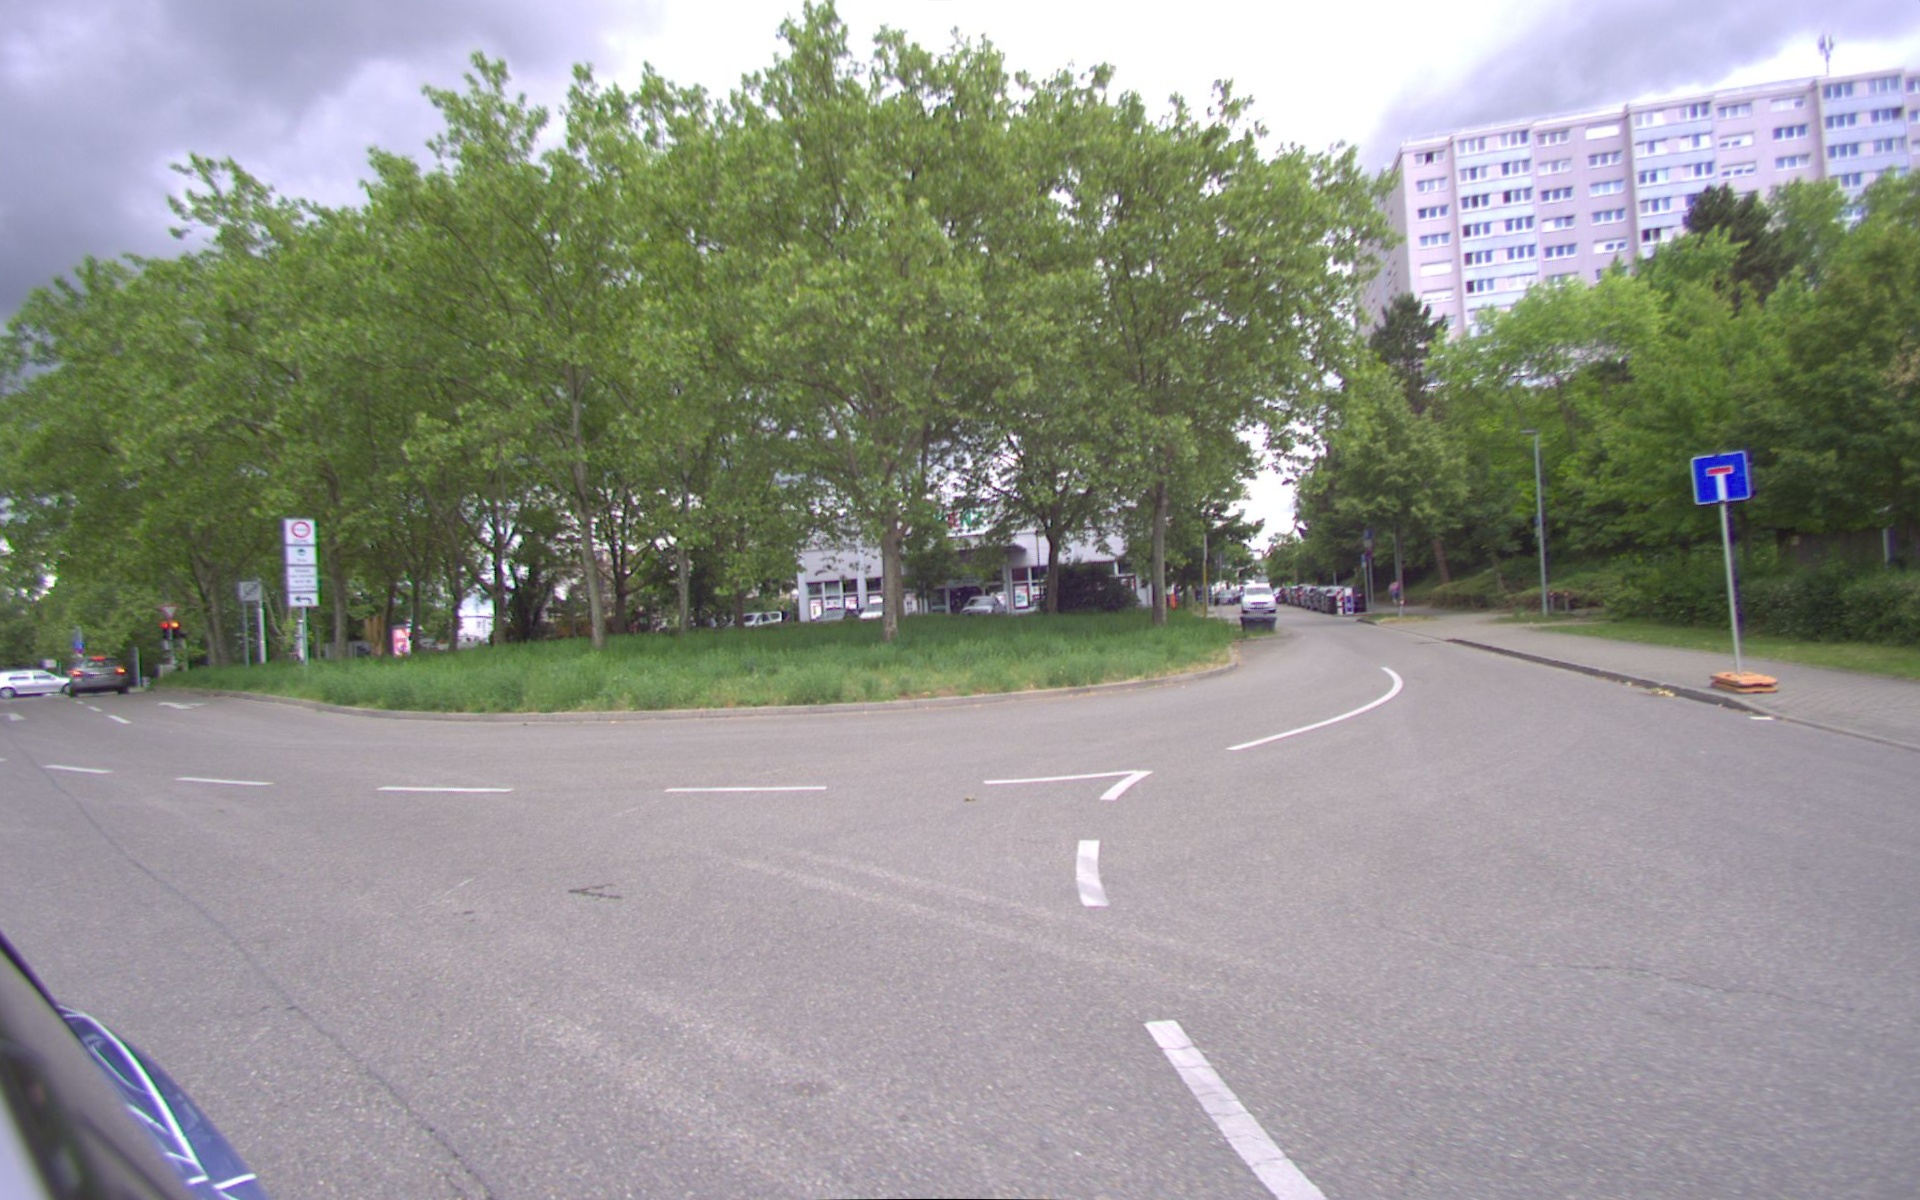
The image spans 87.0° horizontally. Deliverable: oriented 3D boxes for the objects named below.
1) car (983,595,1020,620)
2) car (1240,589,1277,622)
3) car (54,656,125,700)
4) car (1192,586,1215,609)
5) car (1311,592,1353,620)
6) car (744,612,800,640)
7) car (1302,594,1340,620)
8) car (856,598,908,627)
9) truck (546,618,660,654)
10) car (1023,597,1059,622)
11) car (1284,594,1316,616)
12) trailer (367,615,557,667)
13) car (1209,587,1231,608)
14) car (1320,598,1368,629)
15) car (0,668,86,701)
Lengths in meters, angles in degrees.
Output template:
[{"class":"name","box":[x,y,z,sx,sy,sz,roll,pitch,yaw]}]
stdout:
[{"class":"car","box":[2.671,0.458,64.461,1.638,1.475,3.983,-2,0,13]},{"class":"car","box":[17.418,0.304,59.257,1.764,1.785,3.983,-2,0,13]},{"class":"car","box":[-34.925,3.098,40.571,4.000,1.527,1.735,-2,0,43]},{"class":"car","box":[20.416,-0.228,84.815,1.764,1.785,3.983,-2,0,13]},{"class":"car","box":[21.277,0.352,57.996,1.764,1.497,3.659,-2,0,13]},{"class":"car","box":[-10.720,1.467,57.982,1.638,1.475,3.983,-2,0,13]},{"class":"car","box":[22.397,0.416,62.878,1.764,1.497,3.659,-2,0,13]},{"class":"car","box":[-4.210,0.650,55.237,1.638,1.475,3.983,-2,0,13]},{"class":"truck","box":[-25.460,2.548,72.431,7.410,2.230,2.084,-2,0,-43]},{"class":"car","box":[5.141,0.597,64.027,1.638,1.475,3.983,-2,0,13]},{"class":"car","box":[24.330,0.347,72.444,1.764,1.497,3.659,-2,0,13]},{"class":"trailer","box":[-32.258,2.565,66.078,10.920,2.826,2.084,-2,0,-43]},{"class":"car","box":[24.170,-0.243,94.125,1.764,1.785,3.983,-2,0,13]},{"class":"car","box":[19.979,0.680,52.774,1.764,1.497,3.659,-2,0,13]},{"class":"car","box":[-48.049,4.386,52.612,3.862,1.443,1.611,-2,0,-43]}]
